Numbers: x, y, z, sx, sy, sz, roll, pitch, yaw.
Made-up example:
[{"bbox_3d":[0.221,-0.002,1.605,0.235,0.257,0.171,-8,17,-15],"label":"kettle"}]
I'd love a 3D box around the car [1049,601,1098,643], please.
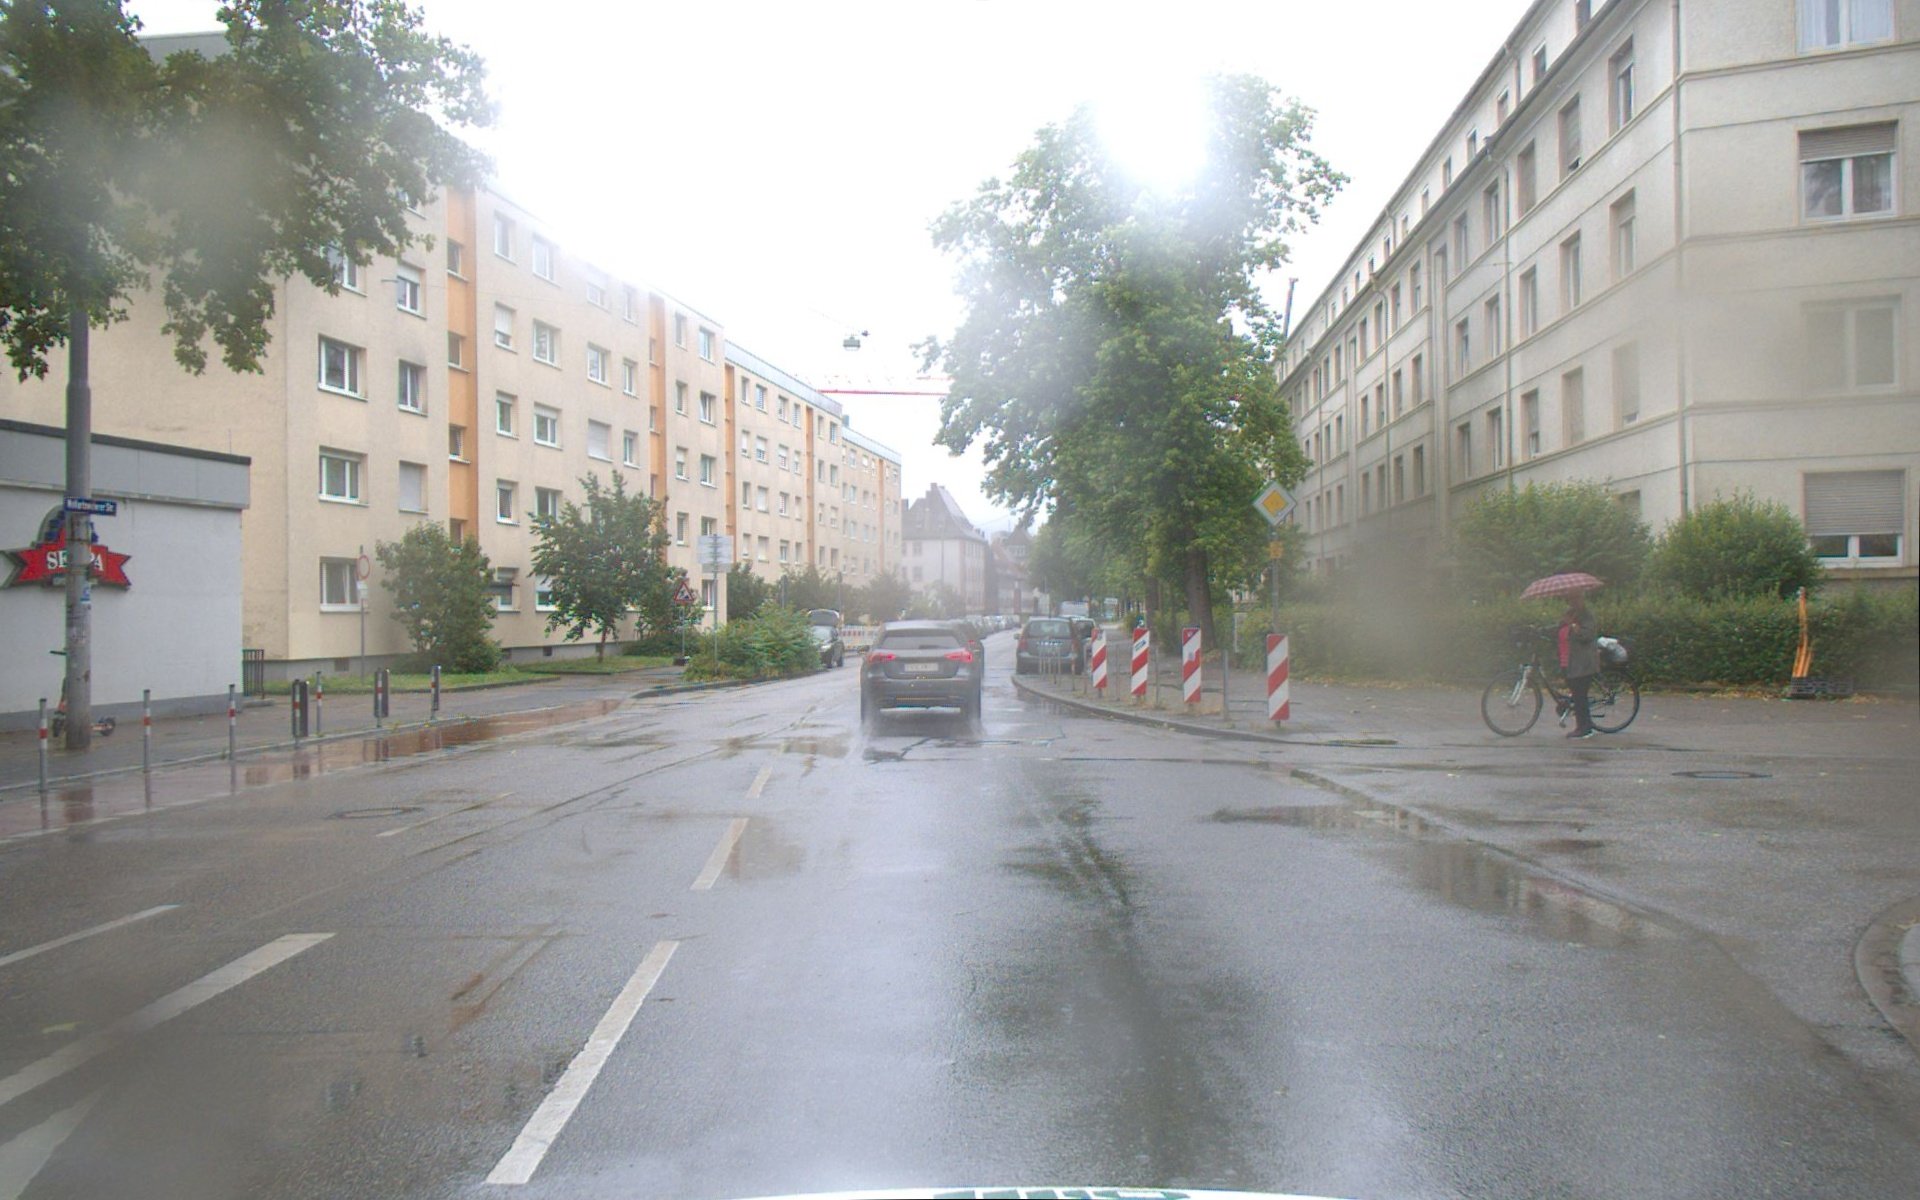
[{"bbox_3d":[4.547,0.883,66.030,1.850,1.601,4.002,-1,-1,4],"label":"car"}]

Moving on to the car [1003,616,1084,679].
[{"bbox_3d":[2.207,1.257,44.756,1.953,1.601,3.999,-1,-1,0],"label":"car"}]

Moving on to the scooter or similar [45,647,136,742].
[{"bbox_3d":[-12.384,1.327,23.589,0.428,1.288,1.376,-1,-1,8],"label":"scooter or similar"}]

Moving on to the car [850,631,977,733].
[{"bbox_3d":[-0.637,1.184,24.973,1.754,1.396,3.507,0,-1,1],"label":"car"}]

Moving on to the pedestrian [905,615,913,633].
[{"bbox_3d":[-3.896,1.856,126.976,0.517,1.381,0.585,0,-1,9],"label":"pedestrian"}]

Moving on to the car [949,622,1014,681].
[{"bbox_3d":[0.561,1.318,43.427,1.574,1.396,4.000,-2,-1,1],"label":"car"}]

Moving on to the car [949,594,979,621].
[{"bbox_3d":[0.331,0.572,120.277,1.850,1.868,4.002,-1,-1,4],"label":"car"}]

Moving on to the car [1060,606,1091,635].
[{"bbox_3d":[7.871,1.403,112.612,2.003,1.868,4.794,-1,-1,4],"label":"car"}]

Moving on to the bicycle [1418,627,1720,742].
[{"bbox_3d":[6.714,0.900,18.244,3.156,1.131,1.049,-1,0,-18],"label":"bicycle"}]

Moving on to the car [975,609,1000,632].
[{"bbox_3d":[2.296,1.696,137.163,1.850,1.868,4.002,-1,-1,4],"label":"car"}]

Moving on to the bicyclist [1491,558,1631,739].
[{"bbox_3d":[6.579,0.515,18.153,0.923,1.901,1.137,-1,-1,-17],"label":"bicyclist"}]

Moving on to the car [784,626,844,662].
[{"bbox_3d":[-5.284,1.584,60.107,1.556,1.227,3.461,-1,-1,5],"label":"car"}]
